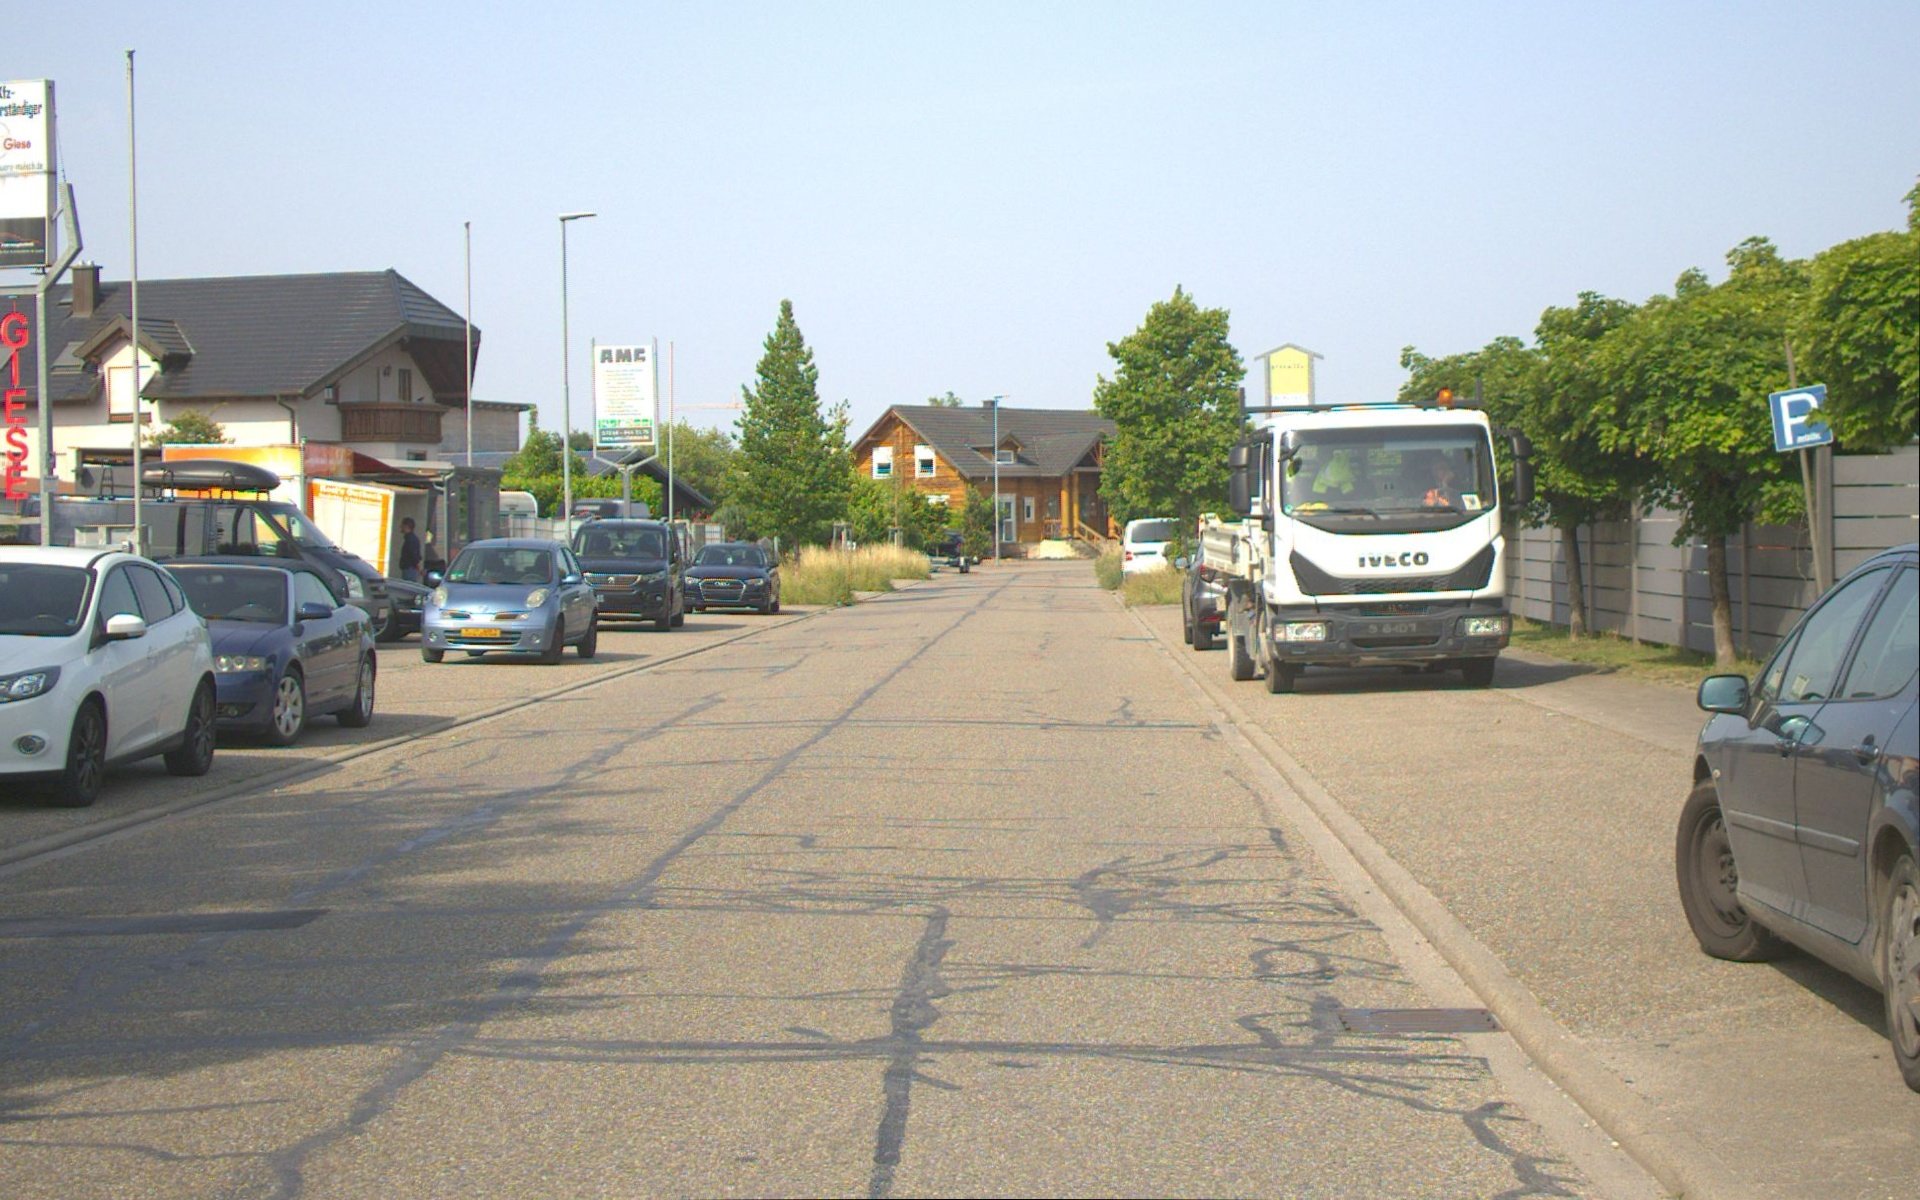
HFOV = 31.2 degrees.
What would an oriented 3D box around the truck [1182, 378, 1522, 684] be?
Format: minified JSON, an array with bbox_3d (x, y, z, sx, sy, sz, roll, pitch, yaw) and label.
[{"bbox_3d":[3.675,-0.671,33.616,2.359,2.672,6.511,-1,1,-2],"label":"truck"}]

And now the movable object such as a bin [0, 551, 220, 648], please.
[{"bbox_3d":[-11.359,-0.026,43.868,3.325,1.143,1.761,1,2,11],"label":"movable object such as a bin"}]

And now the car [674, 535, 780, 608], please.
[{"bbox_3d":[-4.665,-0.598,69.335,1.800,1.382,3.638,1,1,1],"label":"car"}]

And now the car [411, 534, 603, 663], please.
[{"bbox_3d":[-5.562,-0.054,42.584,1.633,1.512,3.605,1,1,4],"label":"car"}]

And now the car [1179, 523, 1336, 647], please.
[{"bbox_3d":[3.905,-0.232,45.681,1.794,1.555,4.000,-1,1,1],"label":"car"}]

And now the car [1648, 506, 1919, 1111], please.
[{"bbox_3d":[3.322,0.479,10.093,1.794,1.512,4.424,-1,1,1],"label":"car"}]

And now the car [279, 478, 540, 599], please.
[{"bbox_3d":[-12.441,-1.397,77.726,5.163,2.577,2.574,-1,1,23],"label":"car"}]

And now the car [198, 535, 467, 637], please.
[{"bbox_3d":[-9.067,-0.217,49.884,3.587,1.409,1.762,-1,1,-1],"label":"car"}]

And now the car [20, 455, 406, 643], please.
[{"bbox_3d":[-9.950,-0.684,46.011,4.627,2.408,2.000,-1,1,4],"label":"car"}]

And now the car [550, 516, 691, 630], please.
[{"bbox_3d":[-5.541,-0.476,56.550,1.800,1.768,4.203,1,1,1],"label":"car"}]

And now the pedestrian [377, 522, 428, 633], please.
[{"bbox_3d":[-8.724,-0.354,53.809,0.562,1.709,0.534,-2,1,-36],"label":"pedestrian"}]

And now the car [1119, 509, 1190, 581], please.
[{"bbox_3d":[5.391,-1.546,95.706,1.838,1.917,3.756,-2,1,2],"label":"car"}]

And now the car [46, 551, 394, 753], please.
[{"bbox_3d":[-5.634,0.340,26.672,1.633,1.382,4.369,1,1,2],"label":"car"}]

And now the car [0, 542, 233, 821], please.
[{"bbox_3d":[-5.747,0.405,20.738,1.683,1.464,4.254,1,1,2],"label":"car"}]
